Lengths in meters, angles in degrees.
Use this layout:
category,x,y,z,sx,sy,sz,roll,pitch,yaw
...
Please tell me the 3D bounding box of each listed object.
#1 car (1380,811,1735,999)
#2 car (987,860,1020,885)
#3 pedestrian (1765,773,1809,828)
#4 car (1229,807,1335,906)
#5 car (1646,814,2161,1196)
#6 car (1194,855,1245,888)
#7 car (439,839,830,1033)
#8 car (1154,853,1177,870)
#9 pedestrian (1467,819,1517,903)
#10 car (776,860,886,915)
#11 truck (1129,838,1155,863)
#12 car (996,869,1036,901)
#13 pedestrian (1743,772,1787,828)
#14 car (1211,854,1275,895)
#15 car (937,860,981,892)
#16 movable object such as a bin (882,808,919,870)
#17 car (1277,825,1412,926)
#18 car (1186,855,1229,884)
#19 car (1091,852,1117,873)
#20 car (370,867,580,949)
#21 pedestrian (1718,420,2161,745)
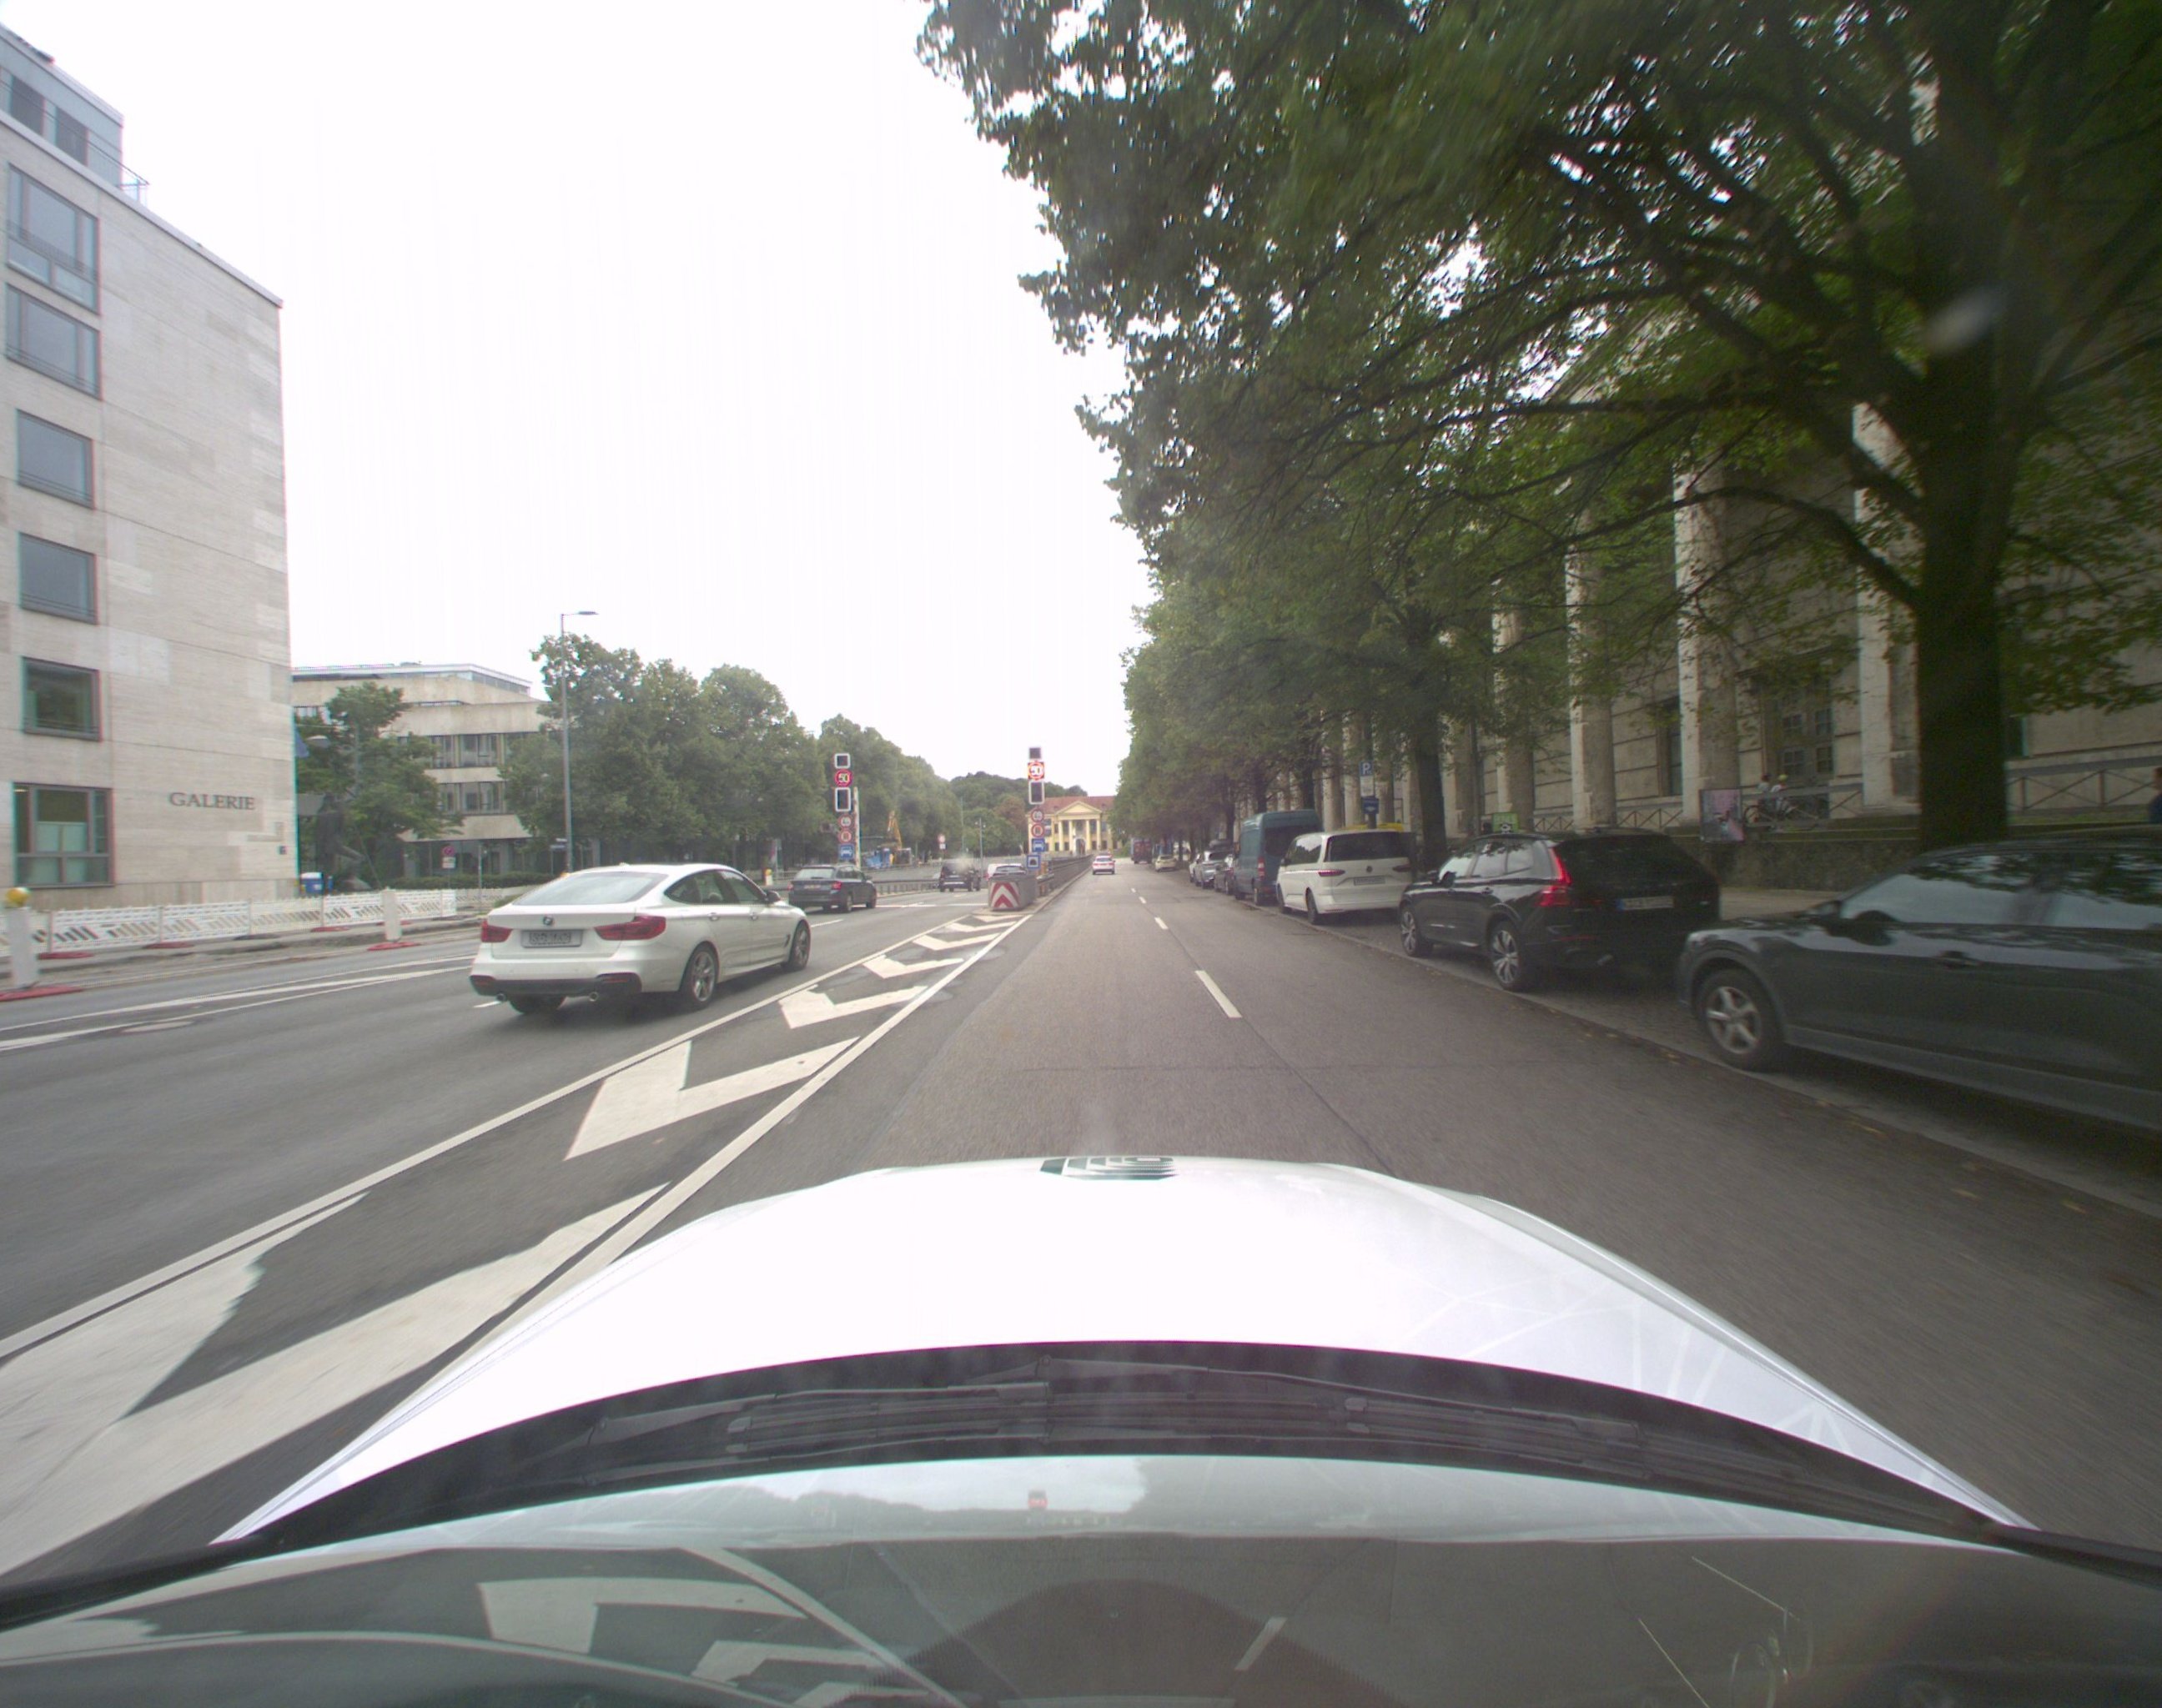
category,x,y,z,sx,sy,sz,roll,pitch,yaw
car,5.226,0.471,9.809,1.717,1.665,4.593,-2,0,3
car,-6.007,1.401,63.741,1.891,1.847,4.957,-2,0,1
pedestrian,18.250,-1.382,21.054,0.564,1.373,0.646,-1,0,2
car,5.851,0.056,24.303,1.987,2.643,4.878,-1,0,1
car,5.095,0.549,4.088,1.815,1.464,4.030,-2,0,3
car,6.128,0.733,36.432,1.717,1.324,4.030,-2,0,3
car,-4.672,0.723,9.633,1.787,1.636,5.026,-2,0,0
car,7.350,0.649,71.281,1.717,1.324,4.030,-2,0,3
pedestrian,9.587,0.158,19.014,0.776,1.910,0.771,-1,0,2
car,-7.523,0.963,24.944,1.785,1.447,4.279,-2,0,3
truck,8.637,-0.513,115.445,3.312,3.367,8.667,-1,0,2
car,-3.500,1.644,44.329,1.704,1.552,4.001,-1,0,1
pedestrian,17.477,-1.372,20.814,0.564,1.373,0.646,-1,0,2
car,5.999,0.729,30.573,1.717,1.364,4.030,-2,0,3
car,-6.771,1.210,45.571,1.716,1.636,4.206,-2,0,1
movable object such as a bin,-19.654,-1.581,88.911,2.689,6.510,5.179,-1,0,2
car,5.526,0.412,17.596,1.717,1.867,4.030,-2,0,3
car,6.484,0.771,42.153,1.717,1.324,4.030,-2,0,3
car,1.859,0.664,66.245,1.775,1.644,3.995,-1,0,-3
car,-14.151,1.179,19.372,1.988,1.596,3.998,-2,0,-1
pedestrian,9.049,-2.400,8.359,1.986,2.013,4.002,-1,0,2
